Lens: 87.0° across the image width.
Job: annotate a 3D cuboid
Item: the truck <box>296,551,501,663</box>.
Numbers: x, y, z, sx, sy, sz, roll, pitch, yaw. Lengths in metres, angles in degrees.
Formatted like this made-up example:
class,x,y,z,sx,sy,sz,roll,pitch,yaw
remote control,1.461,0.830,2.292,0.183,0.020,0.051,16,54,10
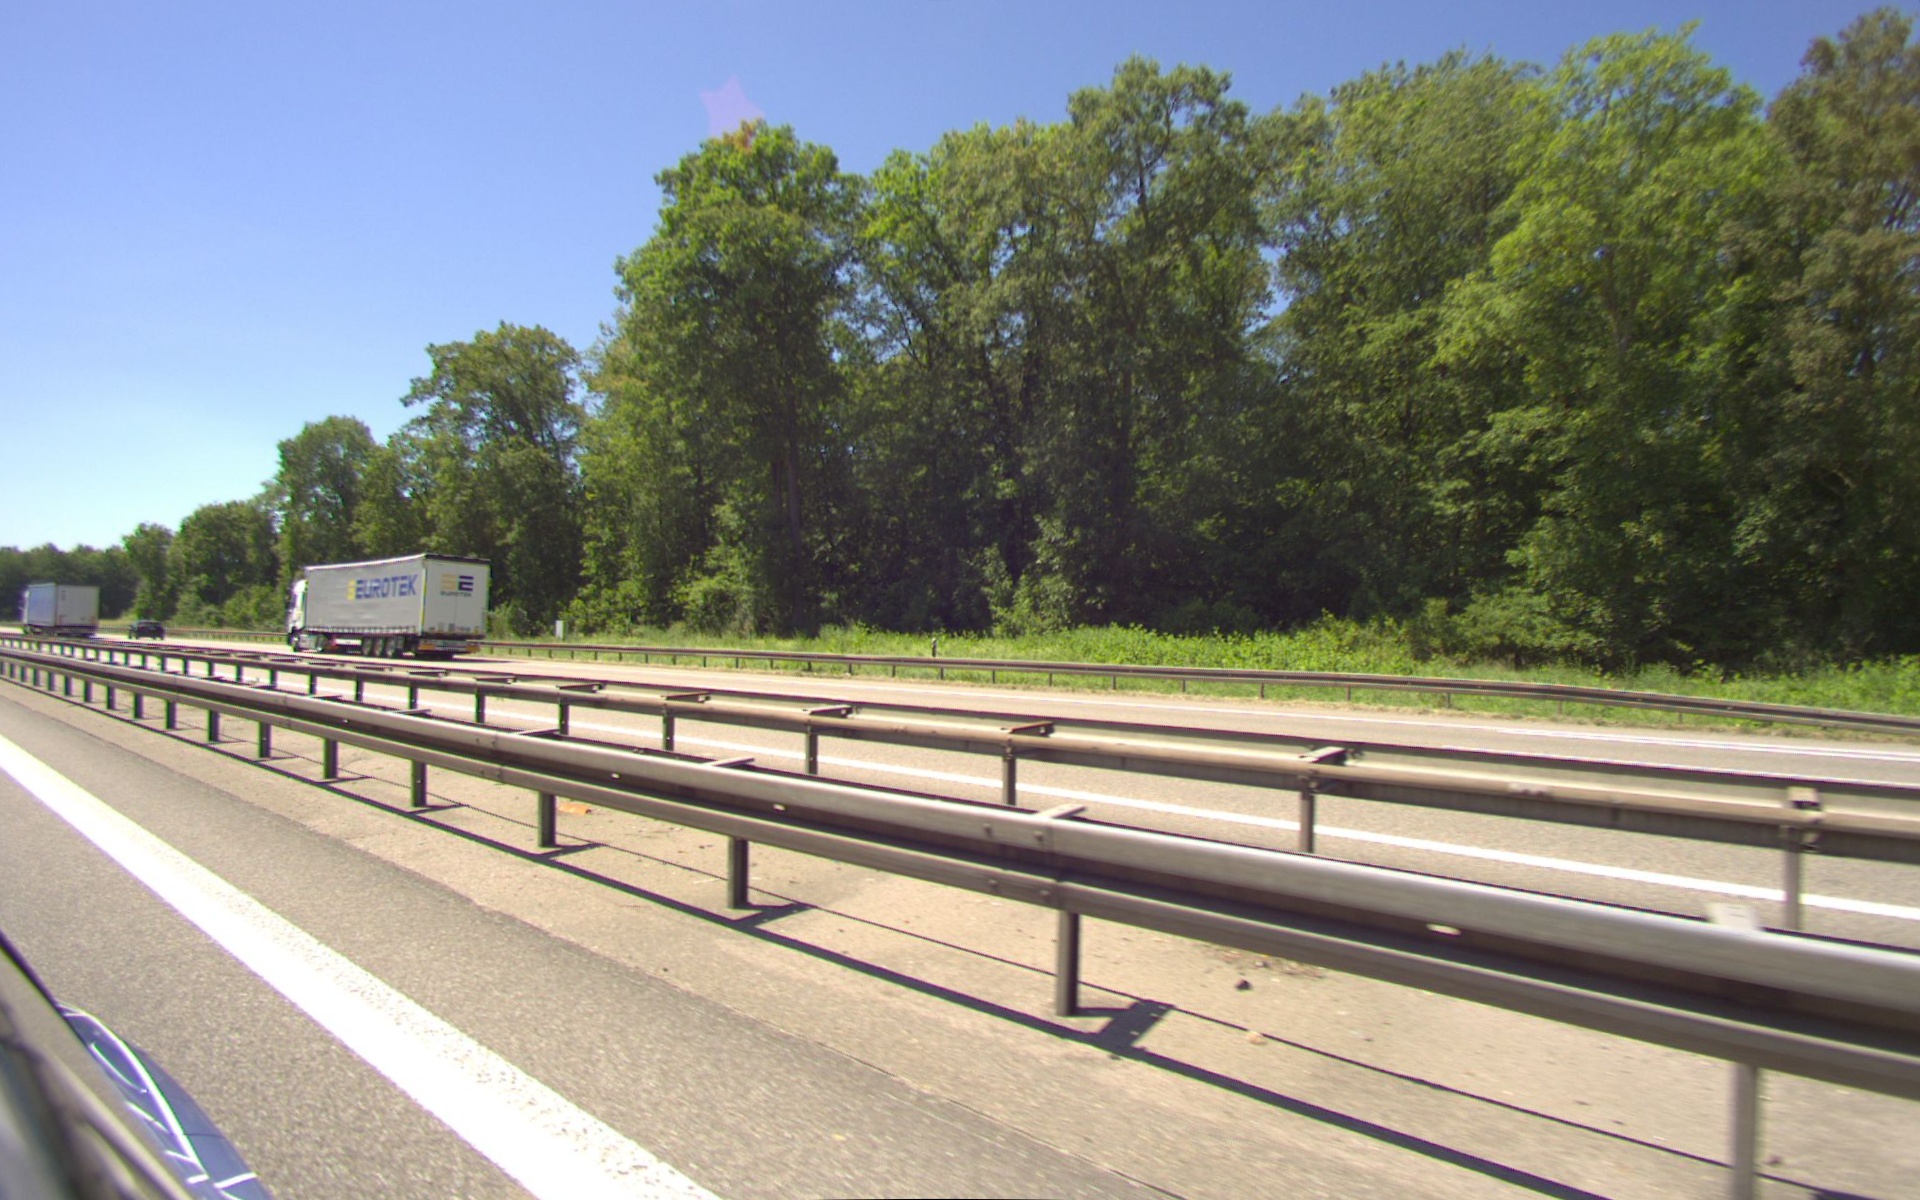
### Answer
class,x,y,z,sx,sy,sz,roll,pitch,yaw
truck,-25.049,0.385,44.527,13.952,4.284,3.034,-1,-4,41

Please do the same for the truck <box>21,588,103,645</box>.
class,x,y,z,sx,sy,sz,roll,pitch,yaw
truck,-69.838,1.227,78.509,13.928,4.049,2.956,-1,0,41

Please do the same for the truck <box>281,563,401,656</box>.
class,x,y,z,sx,sy,sz,roll,pitch,yaw
truck,-29.783,0.511,48.579,6.456,4.093,2.938,-1,-4,41

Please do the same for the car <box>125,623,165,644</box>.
class,x,y,z,sx,sy,sz,roll,pitch,yaw
car,-62.468,2.536,77.534,4.010,1.547,1.805,-1,-2,43

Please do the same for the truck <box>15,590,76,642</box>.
class,x,y,z,sx,sy,sz,roll,pitch,yaw
truck,-74.807,1.276,82.768,6.037,4.049,2.956,-1,0,41
